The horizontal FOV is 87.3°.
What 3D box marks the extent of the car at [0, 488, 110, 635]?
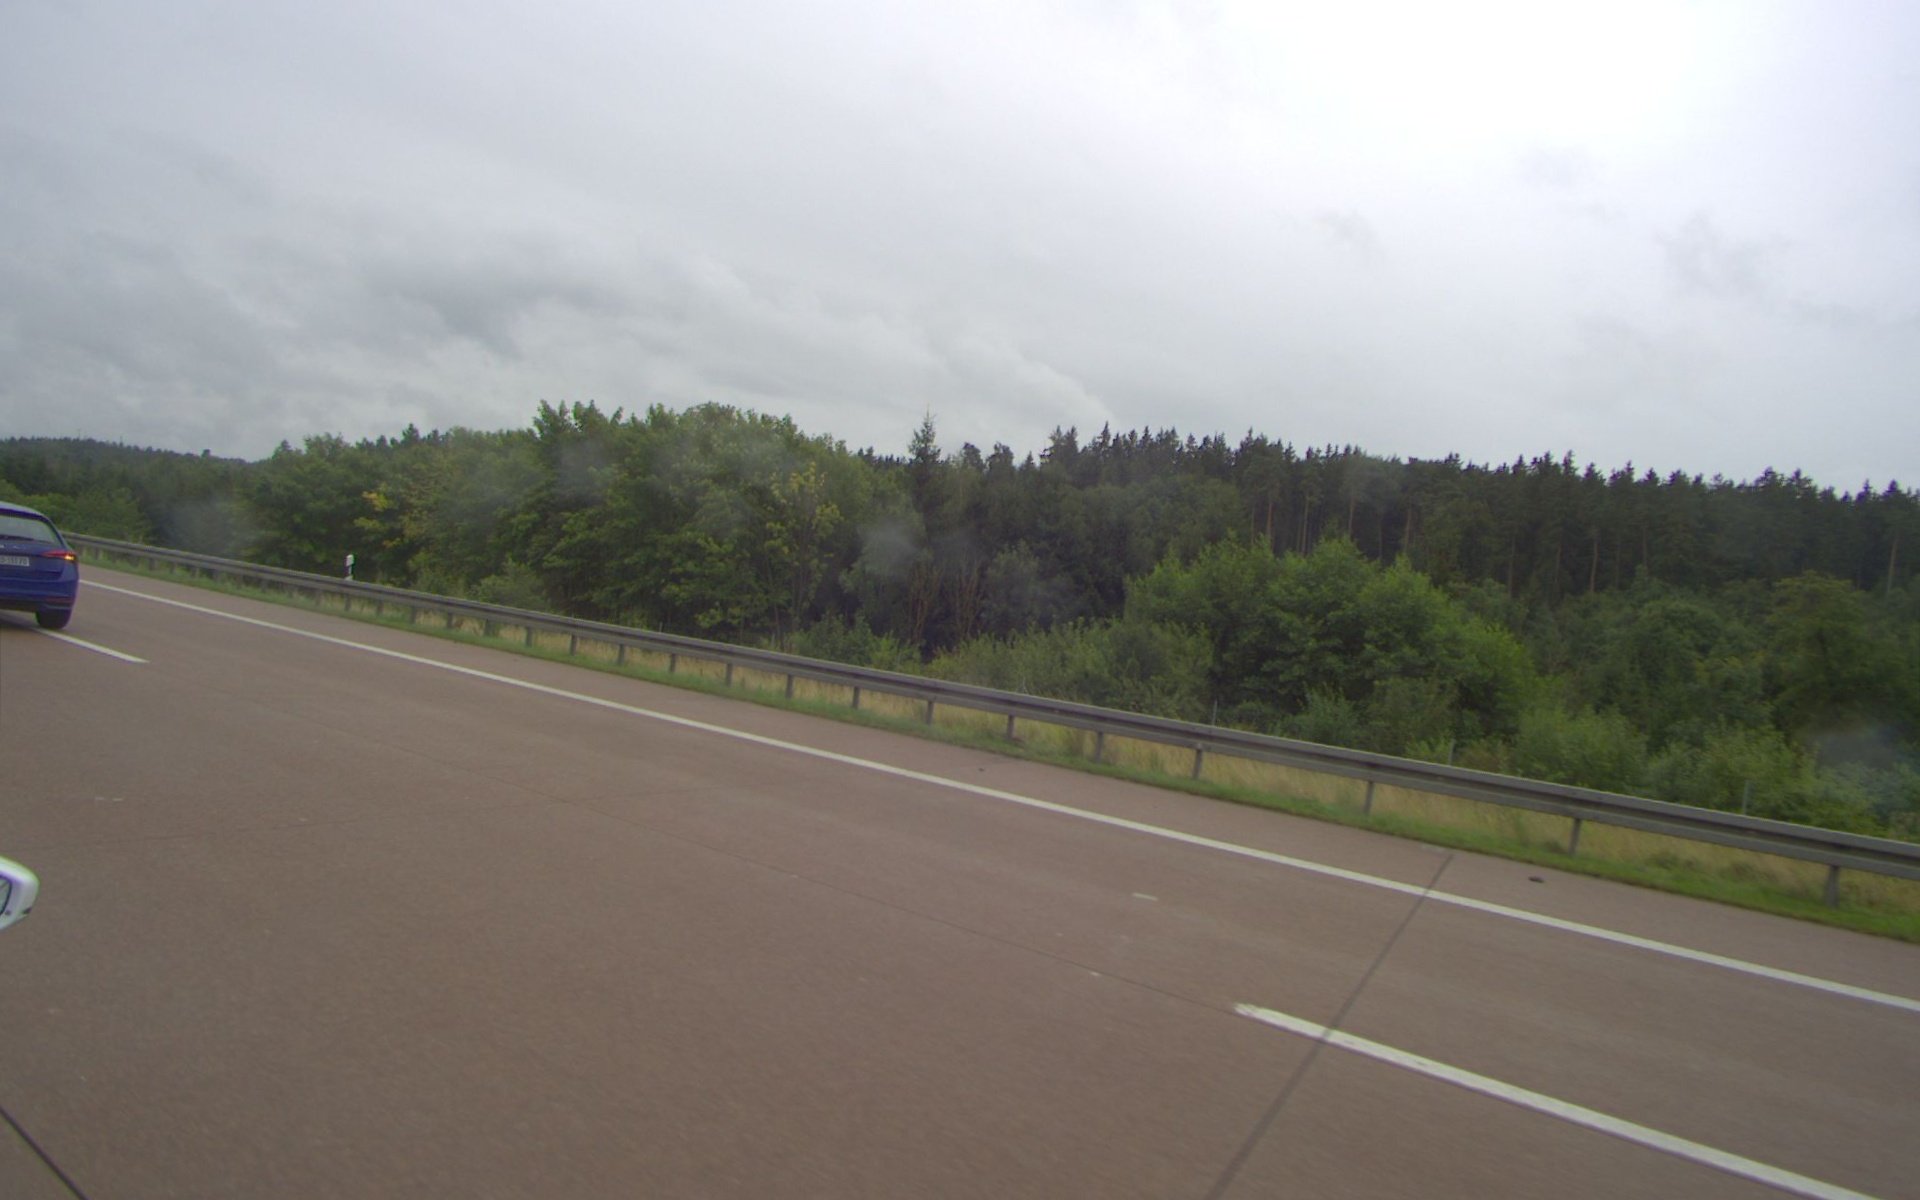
[{"bbox_3d":[-12.510,-0.611,12.455,4.079,1.582,1.774,5,-3,32],"label":"car"}]
